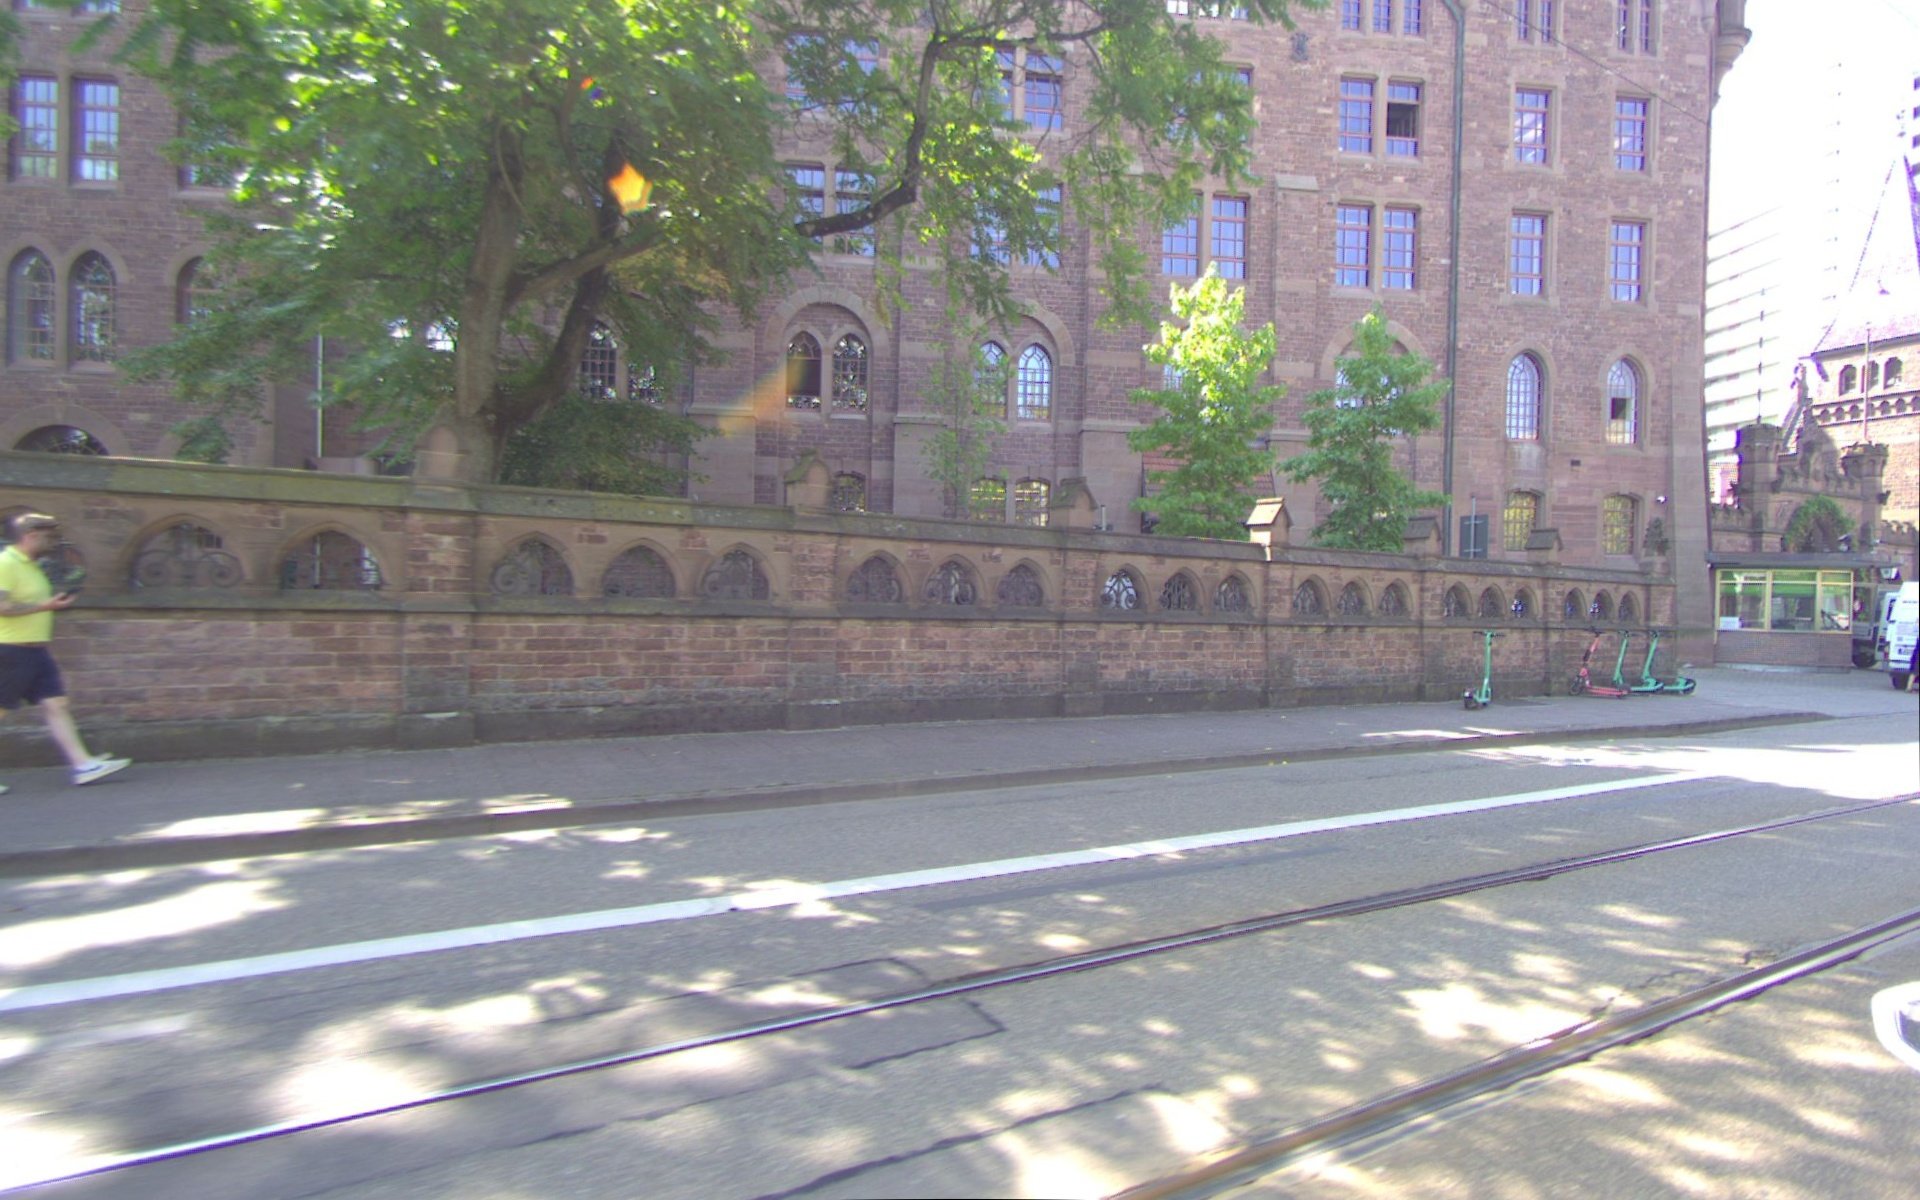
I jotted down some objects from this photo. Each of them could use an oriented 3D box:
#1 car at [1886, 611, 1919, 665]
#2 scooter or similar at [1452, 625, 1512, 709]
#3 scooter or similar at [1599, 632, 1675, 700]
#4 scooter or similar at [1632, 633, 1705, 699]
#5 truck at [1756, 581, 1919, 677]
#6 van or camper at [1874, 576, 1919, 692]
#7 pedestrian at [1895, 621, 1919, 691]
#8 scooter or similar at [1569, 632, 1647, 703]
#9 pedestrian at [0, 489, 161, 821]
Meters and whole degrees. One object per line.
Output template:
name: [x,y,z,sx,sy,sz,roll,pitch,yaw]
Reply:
car: [33.896,1.421,33.383,1.976,1.767,4.117,2,3,-29]
scooter or similar: [7.881,0.982,15.151,0.416,1.194,1.309,2,0,44]
scooter or similar: [12.320,1.203,18.287,1.156,1.194,0.340,2,0,-5]
scooter or similar: [13.290,1.231,18.847,1.156,1.194,0.340,2,0,-5]
truck: [27.948,0.860,29.915,2.101,2.573,6.300,0,4,-25]
van or camper: [25.282,0.879,24.873,5.883,2.711,2.103,2,0,-29]
pedestrian: [22.354,1.301,23.442,0.541,1.620,0.499,2,0,11]
scooter or similar: [11.368,1.175,17.616,1.156,1.194,0.340,2,0,-5]
pedestrian: [-5.977,0.336,6.625,0.973,2.040,0.859,1,0,-32]
